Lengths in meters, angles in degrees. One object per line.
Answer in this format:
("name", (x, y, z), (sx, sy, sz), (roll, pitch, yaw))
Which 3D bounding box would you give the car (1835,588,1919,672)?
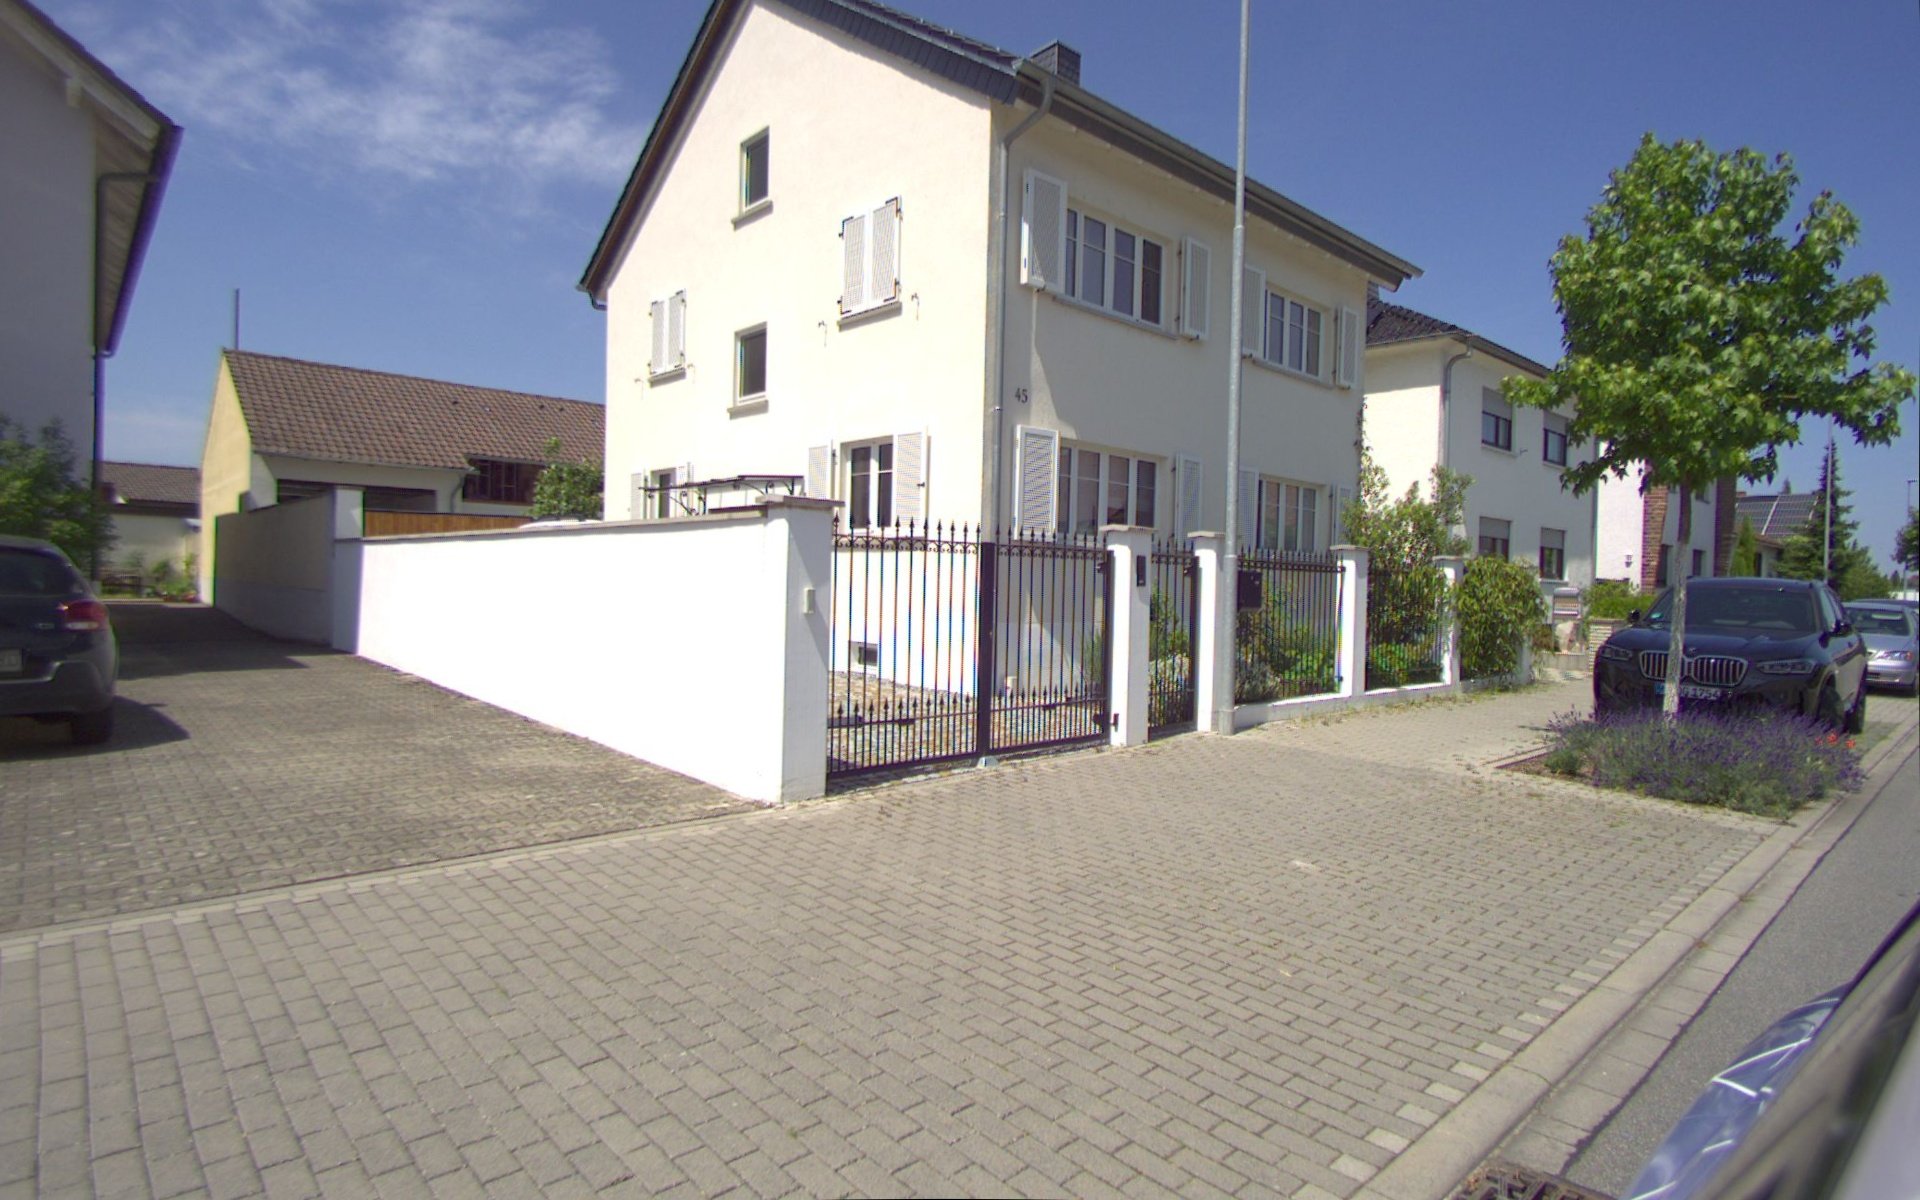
("car", (19.347, 0.563, 20.791), (4.376, 1.552, 1.743), (0, 1, -45))

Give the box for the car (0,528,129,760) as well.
("car", (-7.664, 0.229, 7.646), (3.498, 1.515, 1.639), (2, 1, 42))

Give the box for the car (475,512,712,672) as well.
("car", (-4.924, -0.140, 13.398), (1.741, 1.835, 3.390), (1, 1, -43))

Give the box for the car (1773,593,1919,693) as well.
("car", (15.209, 0.652, 16.972), (4.022, 1.438, 1.817), (1, 1, -42))

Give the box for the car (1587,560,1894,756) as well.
("car", (8.490, 0.504, 10.849), (4.485, 1.677, 1.817), (1, 1, -42))
